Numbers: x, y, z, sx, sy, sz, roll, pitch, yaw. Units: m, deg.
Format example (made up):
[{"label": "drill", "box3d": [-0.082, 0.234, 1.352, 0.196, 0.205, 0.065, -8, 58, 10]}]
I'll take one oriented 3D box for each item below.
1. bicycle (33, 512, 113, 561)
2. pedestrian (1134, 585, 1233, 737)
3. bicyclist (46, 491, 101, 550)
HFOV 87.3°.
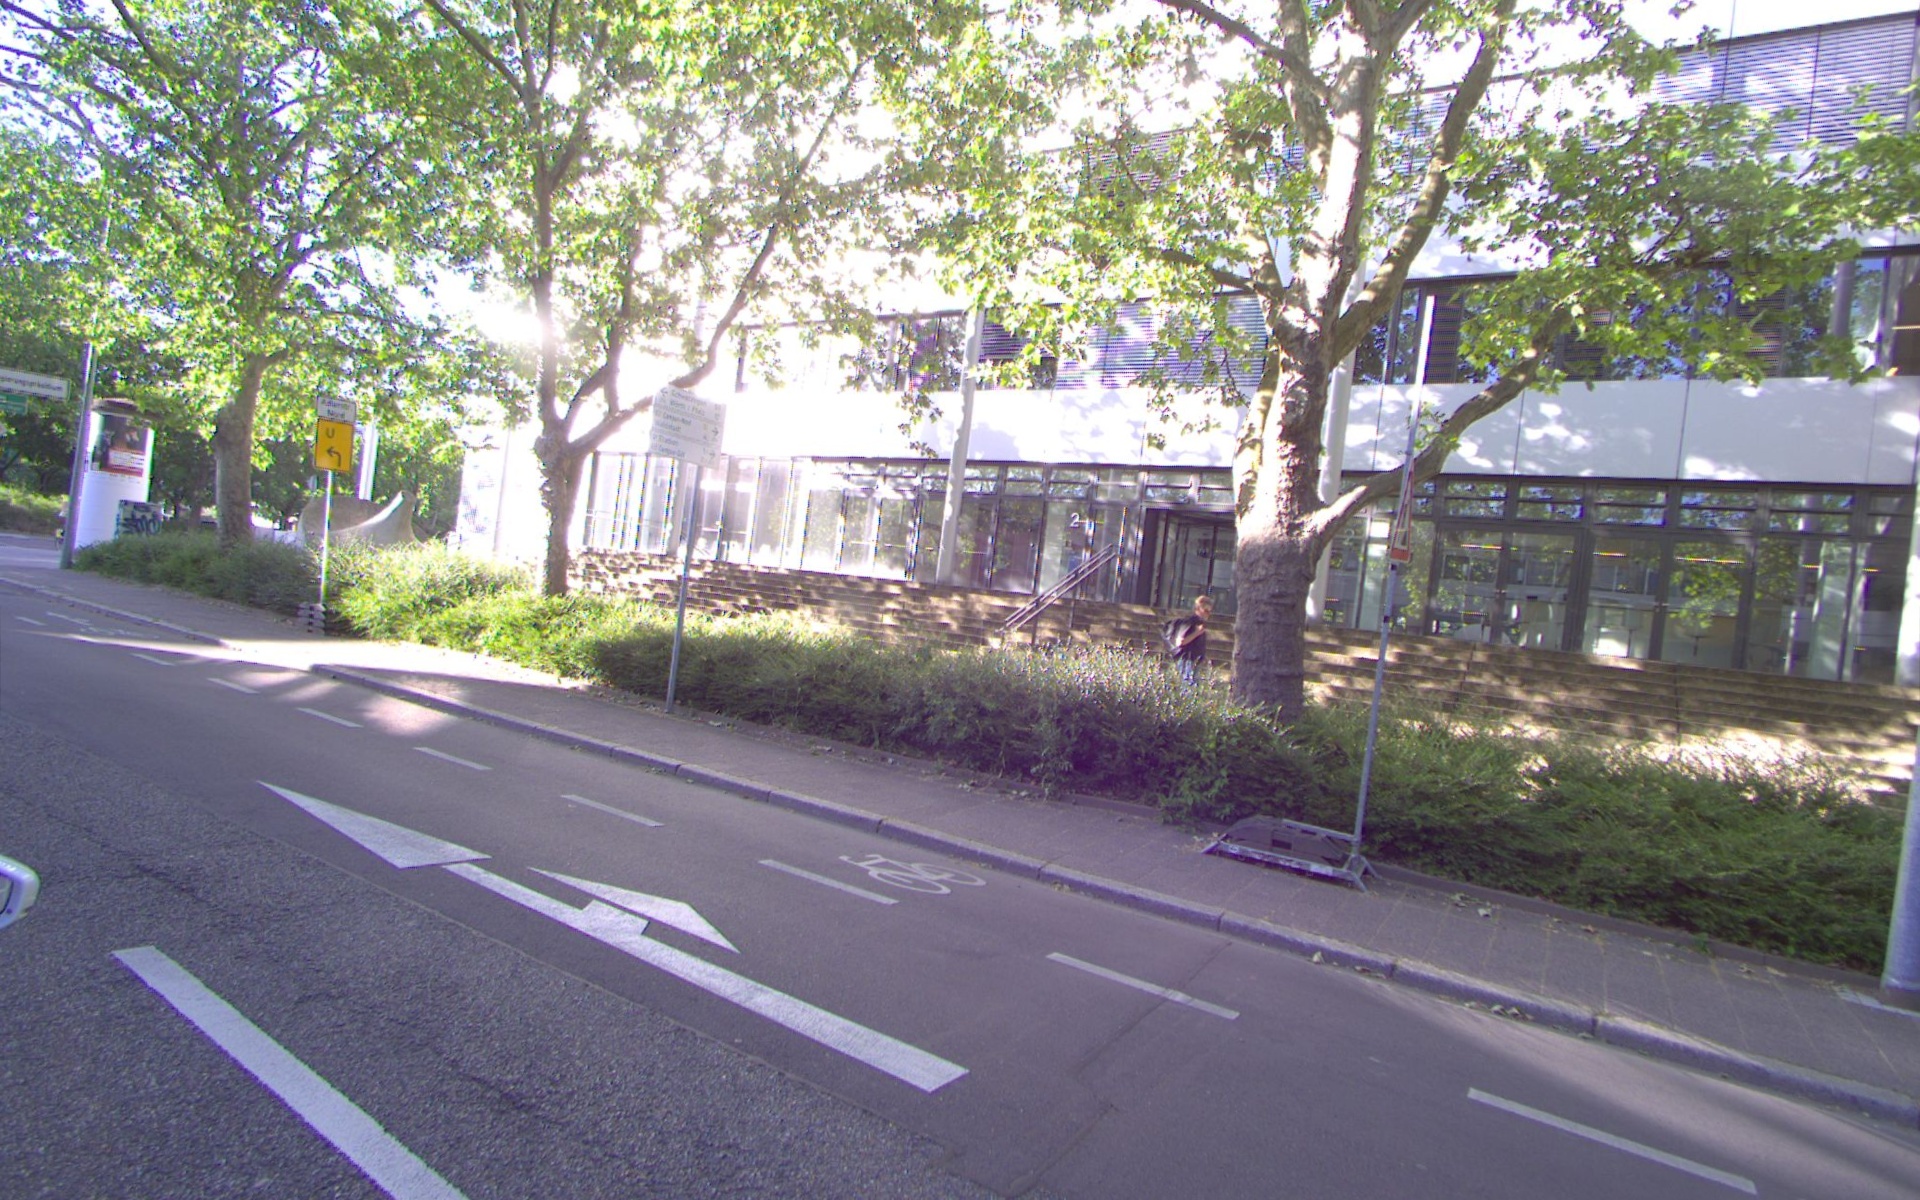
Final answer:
[{"label": "bicycle", "box3d": [-26.620, -1.902, 30.184, 2.135, 1.186, 0.719, 7, -1, 18]}, {"label": "pedestrian", "box3d": [2.880, 0.775, 12.926, 0.848, 1.802, 0.785, 7, 0, 30]}, {"label": "bicyclist", "box3d": [-26.619, -2.371, 30.212, 0.918, 1.601, 0.719, 7, -1, 18]}]
